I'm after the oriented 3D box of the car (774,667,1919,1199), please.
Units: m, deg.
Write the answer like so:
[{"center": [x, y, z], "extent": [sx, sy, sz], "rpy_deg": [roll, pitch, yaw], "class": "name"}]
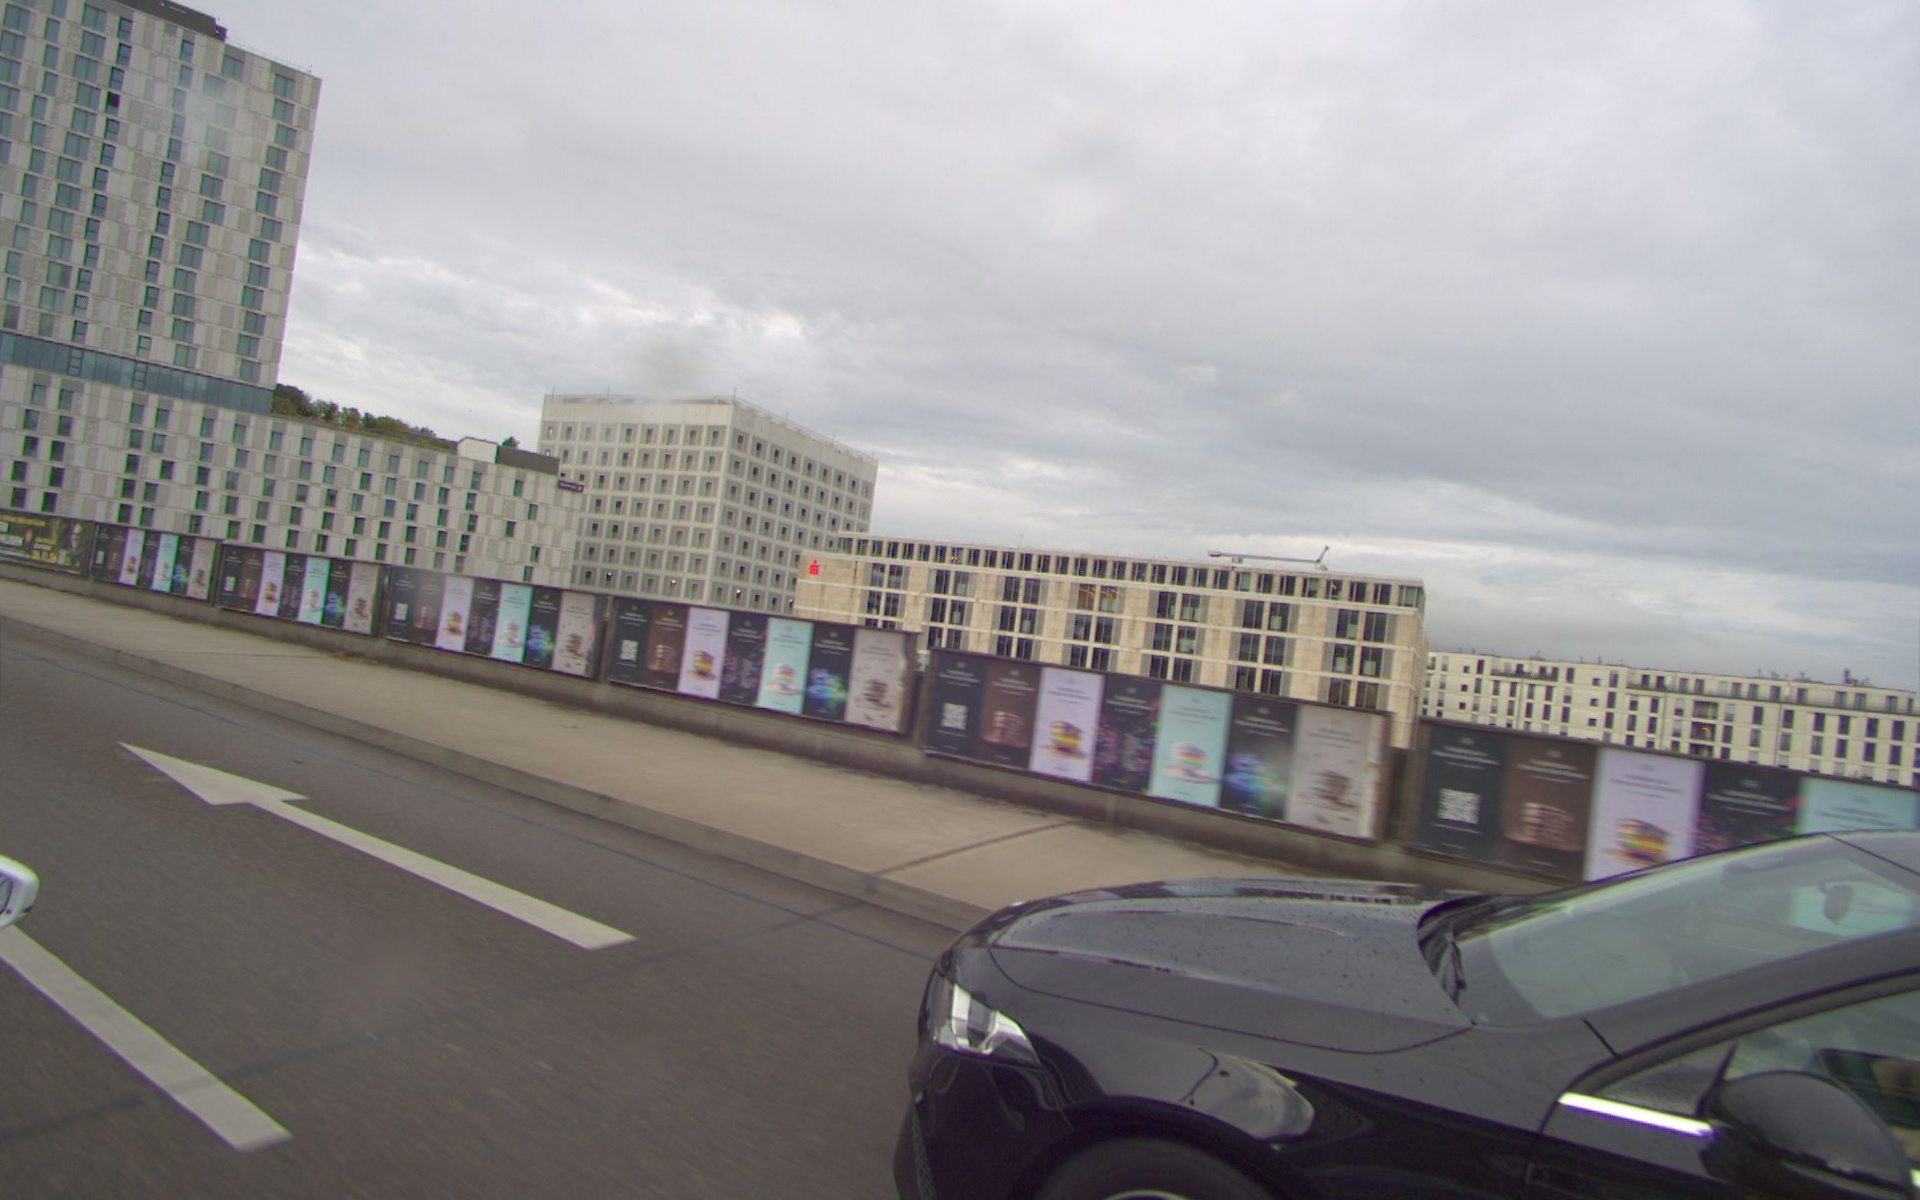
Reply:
[{"center": [1.835, 1.079, 1.843], "extent": [4.085, 1.392, 1.727], "rpy_deg": [5, -2, 30], "class": "car"}]
